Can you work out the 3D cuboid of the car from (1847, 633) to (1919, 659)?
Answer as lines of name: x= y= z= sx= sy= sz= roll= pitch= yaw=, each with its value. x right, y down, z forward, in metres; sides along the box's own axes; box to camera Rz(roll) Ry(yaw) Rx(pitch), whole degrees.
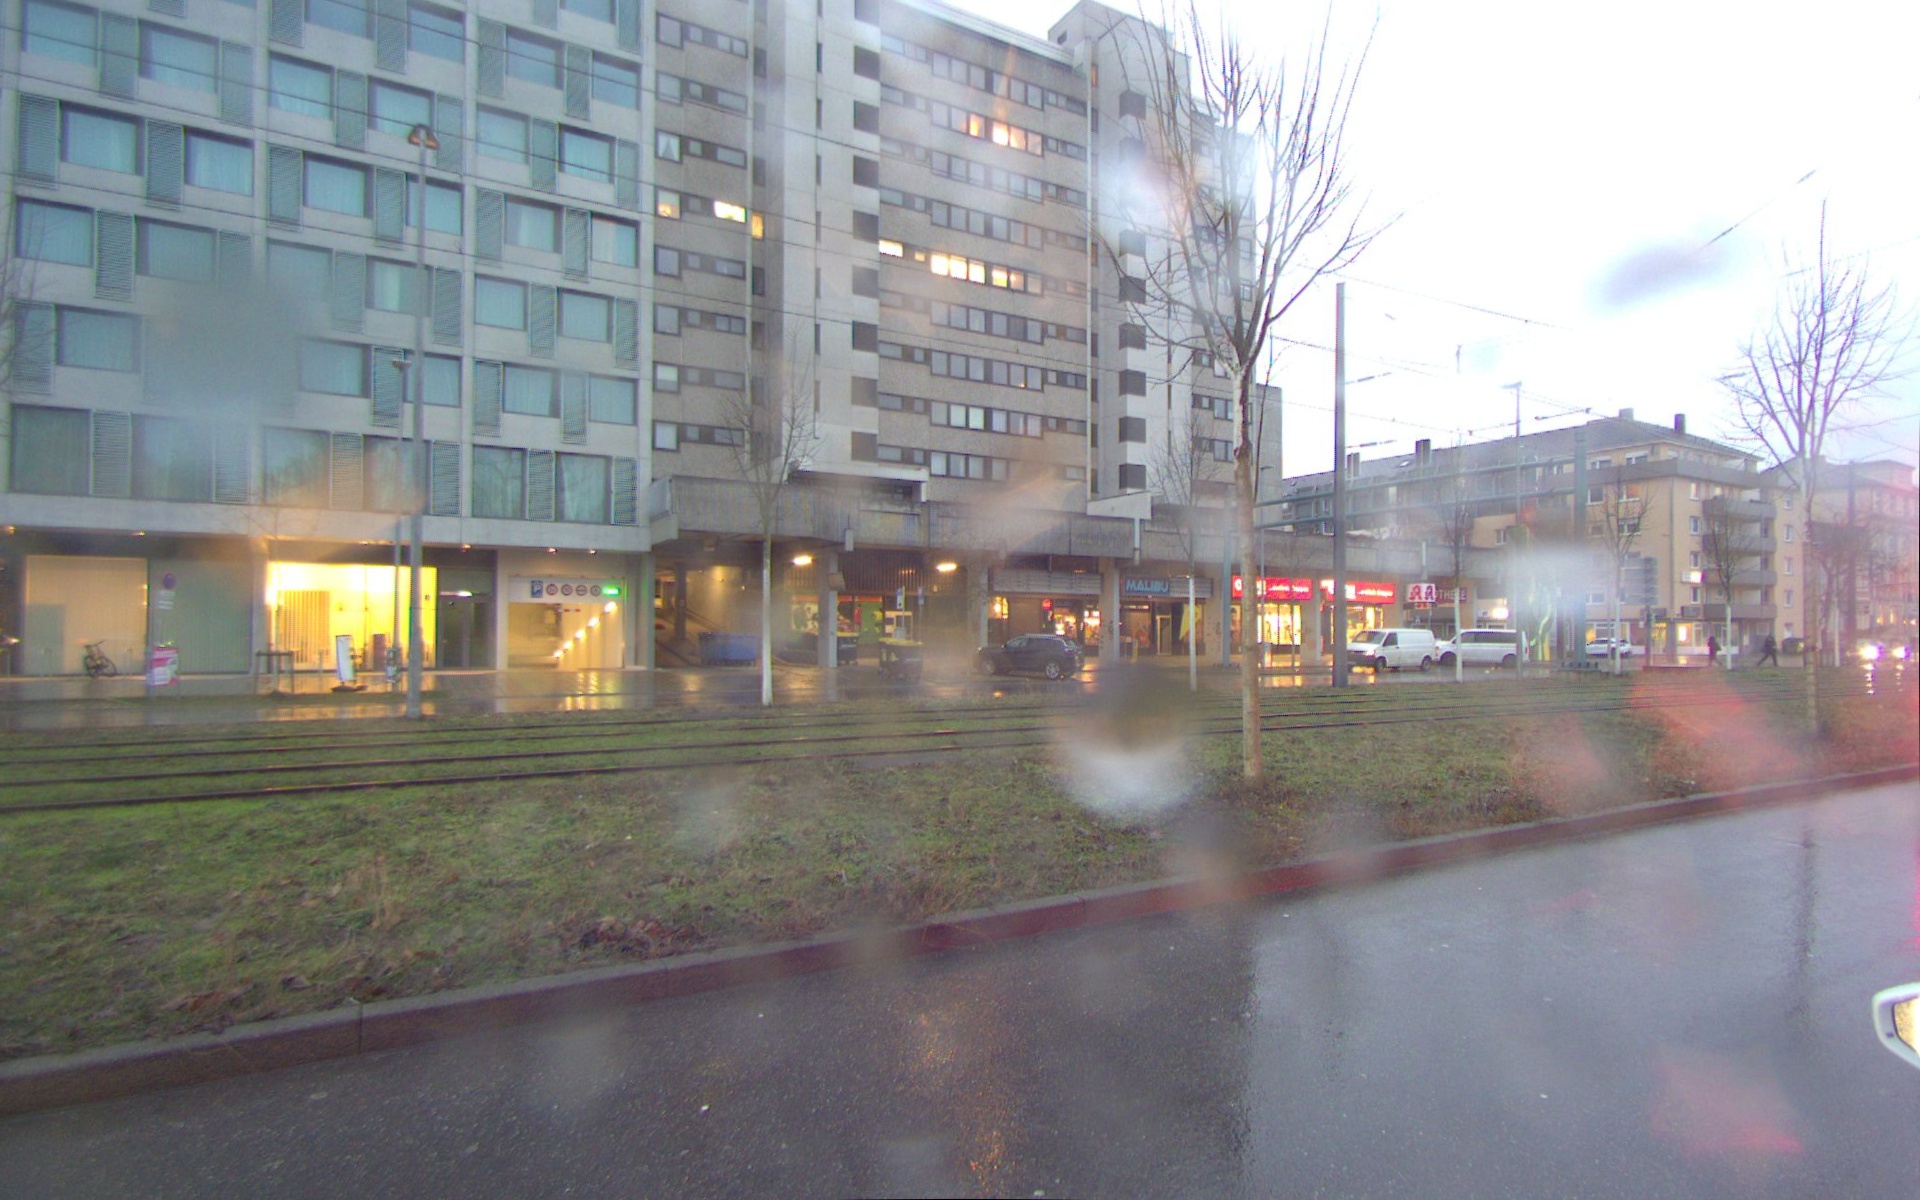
car: x=52.624 y=2.629 z=57.243 sx=4.265 sy=1.350 sz=1.850 roll=2 pitch=0 yaw=-31

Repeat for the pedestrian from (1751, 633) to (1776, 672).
pedestrian: x=42.930 y=2.793 z=53.652 sx=0.949 sy=2.040 sz=1.001 roll=-1 pitch=-2 yaw=44

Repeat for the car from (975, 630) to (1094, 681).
car: x=2.829 y=2.070 z=38.339 sx=4.066 sy=1.715 sz=1.982 roll=2 pitch=0 yaw=28

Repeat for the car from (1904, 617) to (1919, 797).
car: x=10.358 y=0.966 z=9.085 sx=3.955 sy=1.554 sz=1.684 roll=1 pitch=-1 yaw=-32

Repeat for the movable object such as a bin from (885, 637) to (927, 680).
movable object such as a bin: x=-1.886 y=2.028 z=35.016 sx=1.023 sy=1.445 sz=1.061 roll=2 pitch=0 yaw=-41

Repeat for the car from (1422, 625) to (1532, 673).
car: x=27.148 y=2.523 z=52.914 sx=4.734 sy=2.274 sz=2.001 roll=2 pitch=0 yaw=15

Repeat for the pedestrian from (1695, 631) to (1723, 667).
pedestrian: x=43.296 y=2.819 z=58.081 sx=1.253 sy=2.040 sz=1.004 roll=-1 pitch=-2 yaw=36

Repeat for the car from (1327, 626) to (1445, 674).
car: x=20.054 y=2.356 z=47.218 sx=5.491 sy=2.073 sz=1.987 roll=2 pitch=0 yaw=-26

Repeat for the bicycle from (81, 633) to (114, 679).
bicycle: x=-25.166 y=1.617 z=29.329 sx=0.460 sy=1.255 sz=1.527 roll=2 pitch=0 yaw=-31

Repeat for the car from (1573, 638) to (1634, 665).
car: x=51.331 y=4.089 z=80.139 sx=1.826 sy=1.968 sz=3.720 roll=2 pitch=0 yaw=-37
